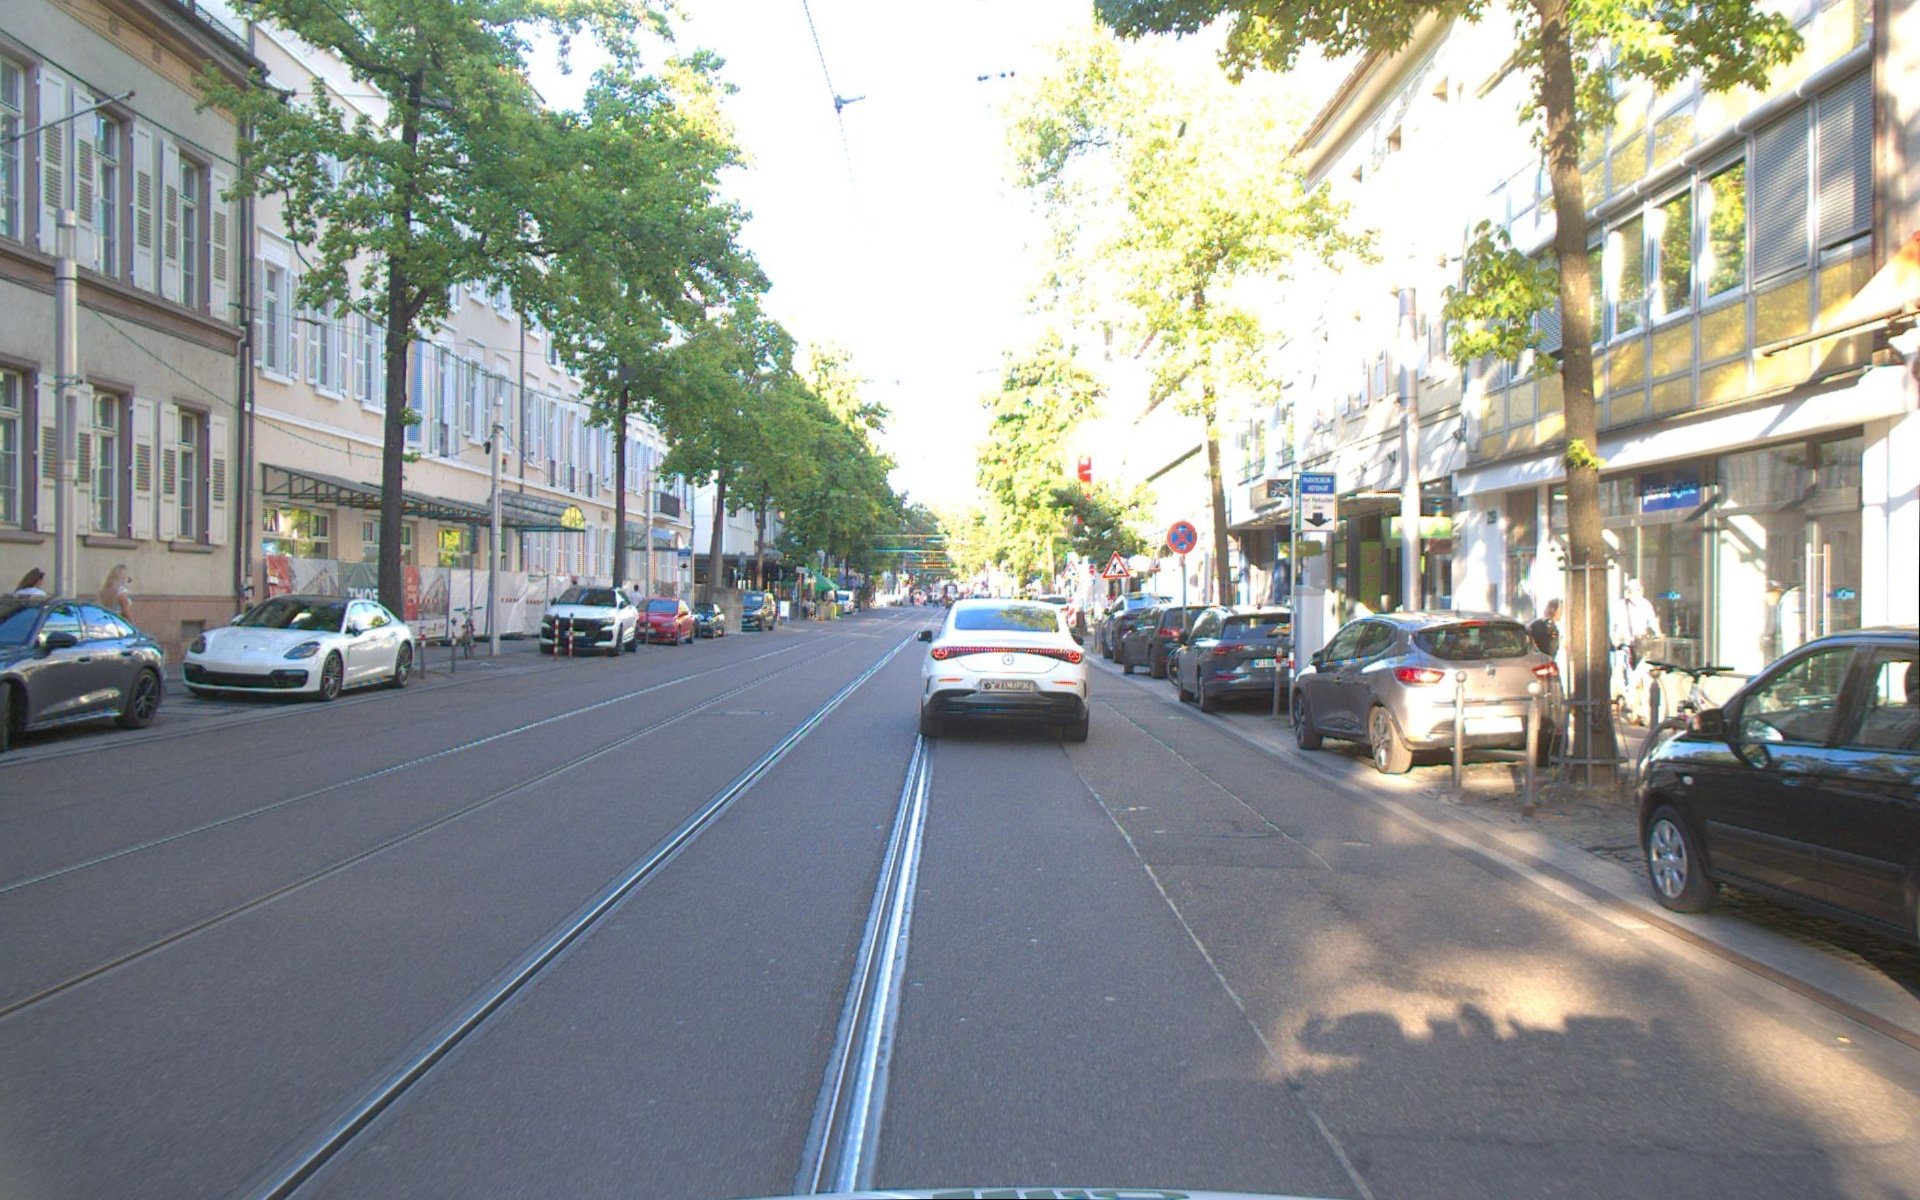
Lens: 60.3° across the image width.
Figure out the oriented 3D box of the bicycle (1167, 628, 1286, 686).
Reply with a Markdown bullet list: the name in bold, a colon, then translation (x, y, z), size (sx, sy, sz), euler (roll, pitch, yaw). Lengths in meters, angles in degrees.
- **bicycle**: translation (4.545, 0.971, 28.261), size (1.994, 0.981, 0.282), euler (0, 0, 5)

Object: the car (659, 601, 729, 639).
- **car**: translation (-9.854, 0.723, 61.450), size (1.953, 1.315, 4.000), euler (1, 0, 0)

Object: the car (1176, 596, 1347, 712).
- **car**: translation (4.308, 0.723, 24.221), size (1.832, 1.478, 4.107), euler (-2, 0, 2)

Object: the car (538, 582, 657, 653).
- **car**: translation (-9.365, 0.434, 43.144), size (1.921, 1.721, 5.013), euler (1, 0, 1)

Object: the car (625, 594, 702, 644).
- **car**: translation (-9.473, 0.576, 53.136), size (1.654, 1.525, 4.234), euler (1, 0, 1)

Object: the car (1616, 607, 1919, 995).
- **car**: translation (4.611, 0.796, 7.385), size (1.764, 1.484, 3.653), euler (-1, 0, -3)

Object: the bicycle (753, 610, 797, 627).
- **bicycle**: translation (-9.460, 0.936, 84.610), size (2.207, 0.845, 0.716), euler (0, 0, 22)

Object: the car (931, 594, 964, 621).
- **car**: translation (-1.484, 0.881, 198.273), size (3.956, 3.169, 8.430), euler (0, 0, 0)

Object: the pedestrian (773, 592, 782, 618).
- **pedestrian**: translation (-11.857, 0.351, 107.365), size (0.506, 1.681, 0.650), euler (0, 0, 0)

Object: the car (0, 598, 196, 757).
- **car**: translation (-9.786, 0.707, 16.869), size (1.922, 1.437, 4.844), euler (1, 0, -3)

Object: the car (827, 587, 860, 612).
- **car**: translation (-9.669, -0.085, 137.712), size (1.951, 2.049, 4.003), euler (0, 0, 8)

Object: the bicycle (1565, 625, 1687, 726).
- **bicycle**: translation (7.820, 0.862, 19.493), size (0.634, 1.093, 1.861), euler (-1, 0, -2)

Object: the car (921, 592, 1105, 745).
- **car**: translation (0.488, 0.680, 18.608), size (1.830, 1.494, 4.041), euler (1, 0, -1)

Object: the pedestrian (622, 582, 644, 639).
- **pedestrian**: translation (-11.746, 0.363, 59.390), size (0.693, 2.039, 0.675), euler (0, 0, -4)

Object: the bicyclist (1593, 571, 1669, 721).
- **bicyclist**: translation (7.814, 0.524, 19.278), size (0.626, 1.713, 0.599), euler (-1, 0, -2)

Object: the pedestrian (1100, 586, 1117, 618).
- **pedestrian**: translation (8.438, 0.113, 93.764), size (0.785, 1.805, 0.681), euler (0, 0, -12)

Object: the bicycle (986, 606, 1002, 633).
- **bicycle**: translation (1.564, 0.903, 75.988), size (0.725, 1.209, 2.160), euler (0, 0, 1)

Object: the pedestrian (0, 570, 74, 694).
- **pedestrian**: translation (-12.922, 0.437, 23.173), size (0.660, 1.709, 0.647), euler (0, 0, -1)

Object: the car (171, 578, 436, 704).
- **car**: translation (-9.659, 0.560, 24.824), size (1.906, 1.668, 4.909), euler (1, 0, 1)

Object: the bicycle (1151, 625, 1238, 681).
- **bicycle**: translation (4.216, 0.951, 29.778), size (1.506, 0.981, 0.496), euler (0, 0, 4)

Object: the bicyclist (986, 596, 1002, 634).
- **bicyclist**: translation (1.553, 0.667, 75.941), size (0.710, 1.732, 0.811), euler (0, 0, 0)

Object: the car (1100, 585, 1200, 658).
- **car**: translation (4.737, 0.502, 41.920), size (1.953, 1.743, 4.866), euler (0, 0, 0)

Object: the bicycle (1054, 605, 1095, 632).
- **bicycle**: translation (4.681, 0.761, 67.702), size (1.686, 1.080, 0.581), euler (0, 0, 3)

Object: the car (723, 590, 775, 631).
- **car**: translation (-9.525, 0.451, 74.825), size (1.519, 1.827, 3.170), euler (0, 0, 8)

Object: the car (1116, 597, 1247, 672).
- **car**: translation (4.522, 0.678, 34.347), size (1.802, 1.461, 3.994), euler (0, 0, -6)

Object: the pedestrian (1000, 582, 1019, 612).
- **pedestrian**: translation (2.948, -0.174, 98.607), size (0.904, 1.805, 0.870), euler (0, 0, -15)

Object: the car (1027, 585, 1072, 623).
- **car**: translation (4.241, 0.192, 78.801), size (1.953, 1.758, 4.241), euler (0, 0, 0)

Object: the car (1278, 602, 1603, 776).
- **car**: translation (4.595, 0.783, 16.462), size (1.779, 1.512, 3.995), euler (1, 0, -5)

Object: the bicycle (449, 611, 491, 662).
- **bicycle**: translation (-10.841, 0.791, 36.642), size (0.582, 1.068, 2.005), euler (0, 0, -7)

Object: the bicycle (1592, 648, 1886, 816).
- **bicycle**: translation (5.546, 0.915, 11.809), size (1.821, 1.093, 0.710), euler (-1, 0, -10)

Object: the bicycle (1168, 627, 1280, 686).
- **bicycle**: translation (4.452, 0.950, 27.927), size (1.856, 0.981, 0.332), euler (0, 0, 5)

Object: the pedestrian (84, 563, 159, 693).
- **pedestrian**: translation (-11.606, 0.382, 22.915), size (0.672, 1.751, 0.656), euler (1, 0, 0)

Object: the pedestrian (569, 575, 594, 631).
- **pedestrian**: translation (-12.414, 0.093, 54.221), size (0.693, 1.838, 0.675), euler (0, 0, -4)
